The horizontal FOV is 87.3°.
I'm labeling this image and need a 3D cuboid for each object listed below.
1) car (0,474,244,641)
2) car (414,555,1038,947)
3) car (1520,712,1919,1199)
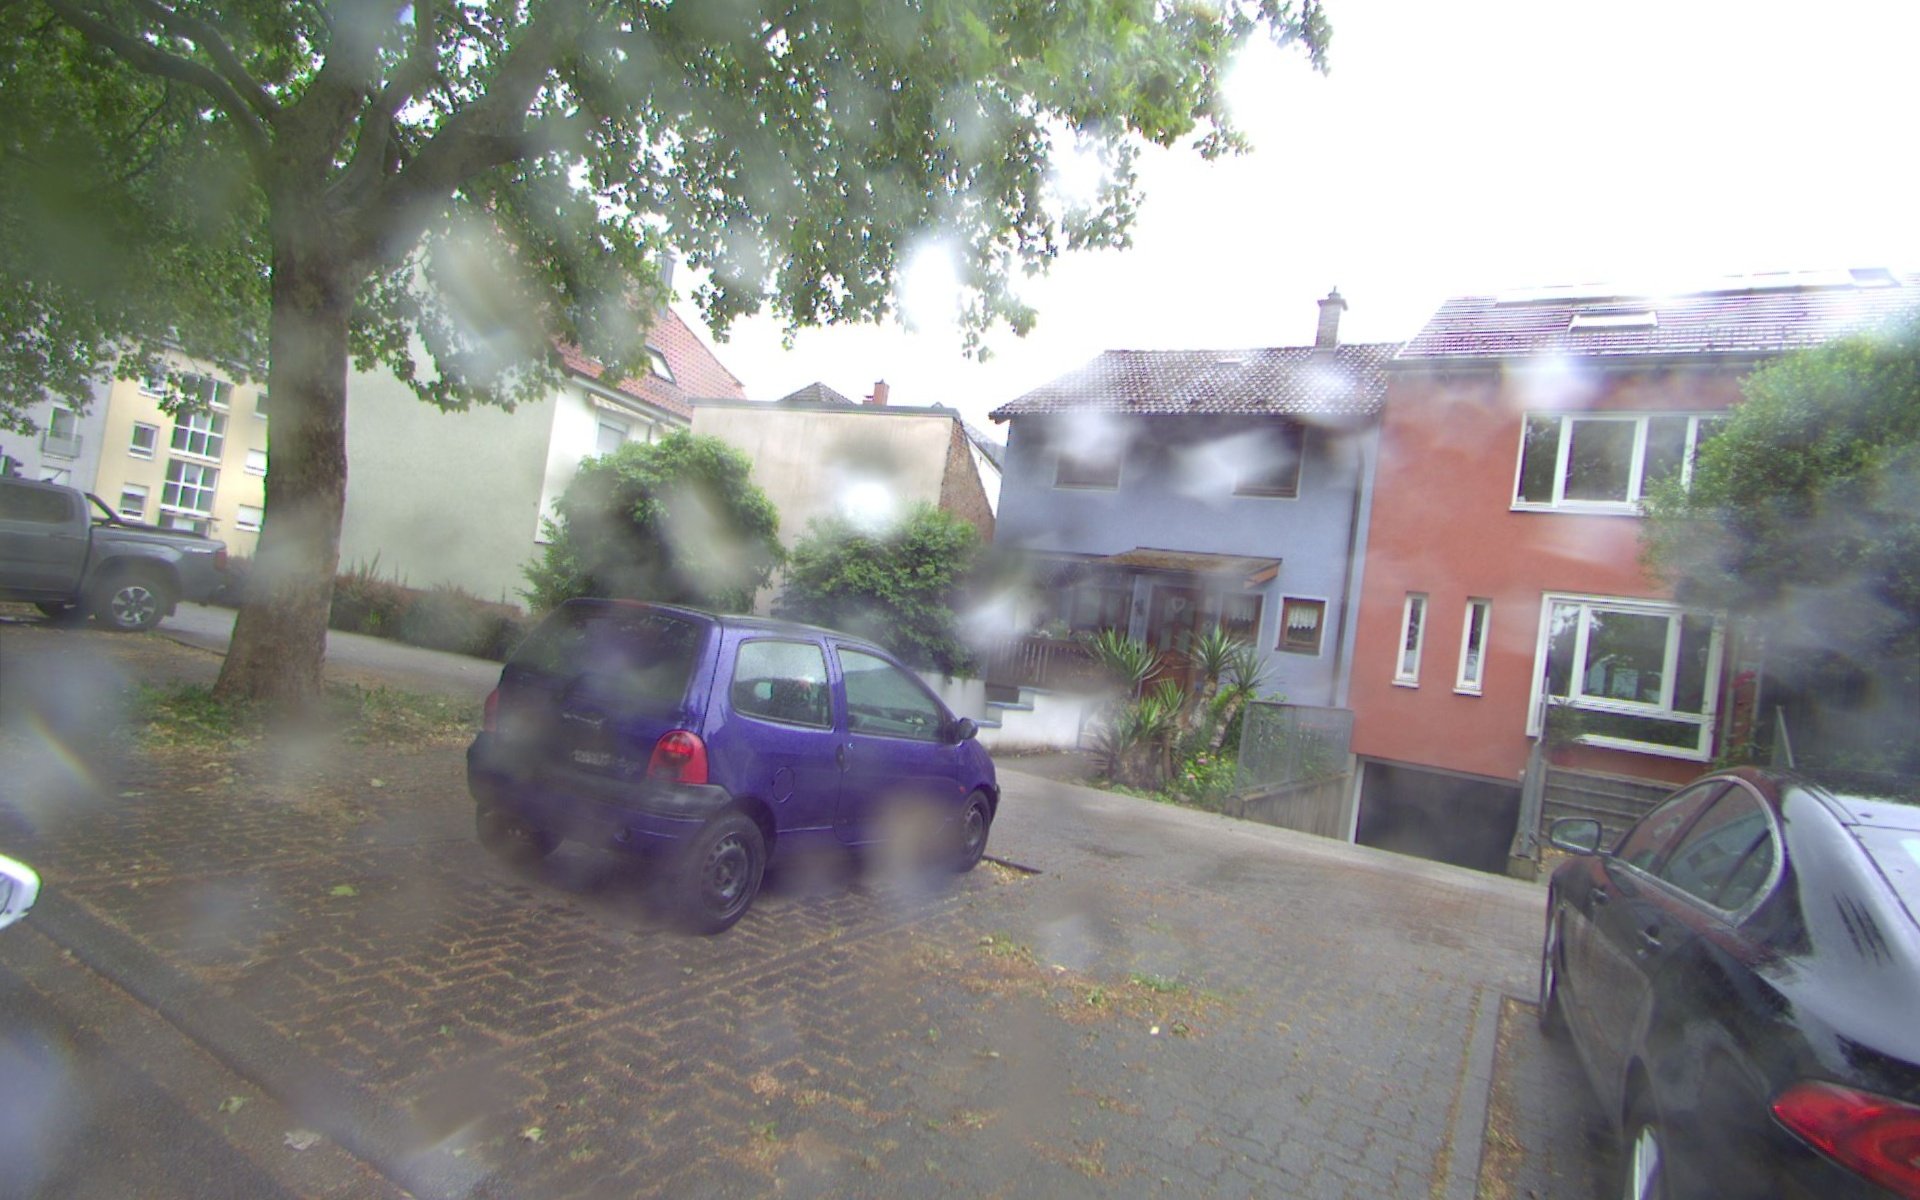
[{"bbox_3d":[-12.359,-0.688,12.450,1.812,1.826,5.359,7,-3,25],"label":"car"},{"bbox_3d":[-1.056,0.779,5.963,1.591,1.480,3.364,7,-3,30],"label":"car"},{"bbox_3d":[2.981,1.239,2.995,1.903,1.489,4.781,7,-2,27],"label":"car"}]
